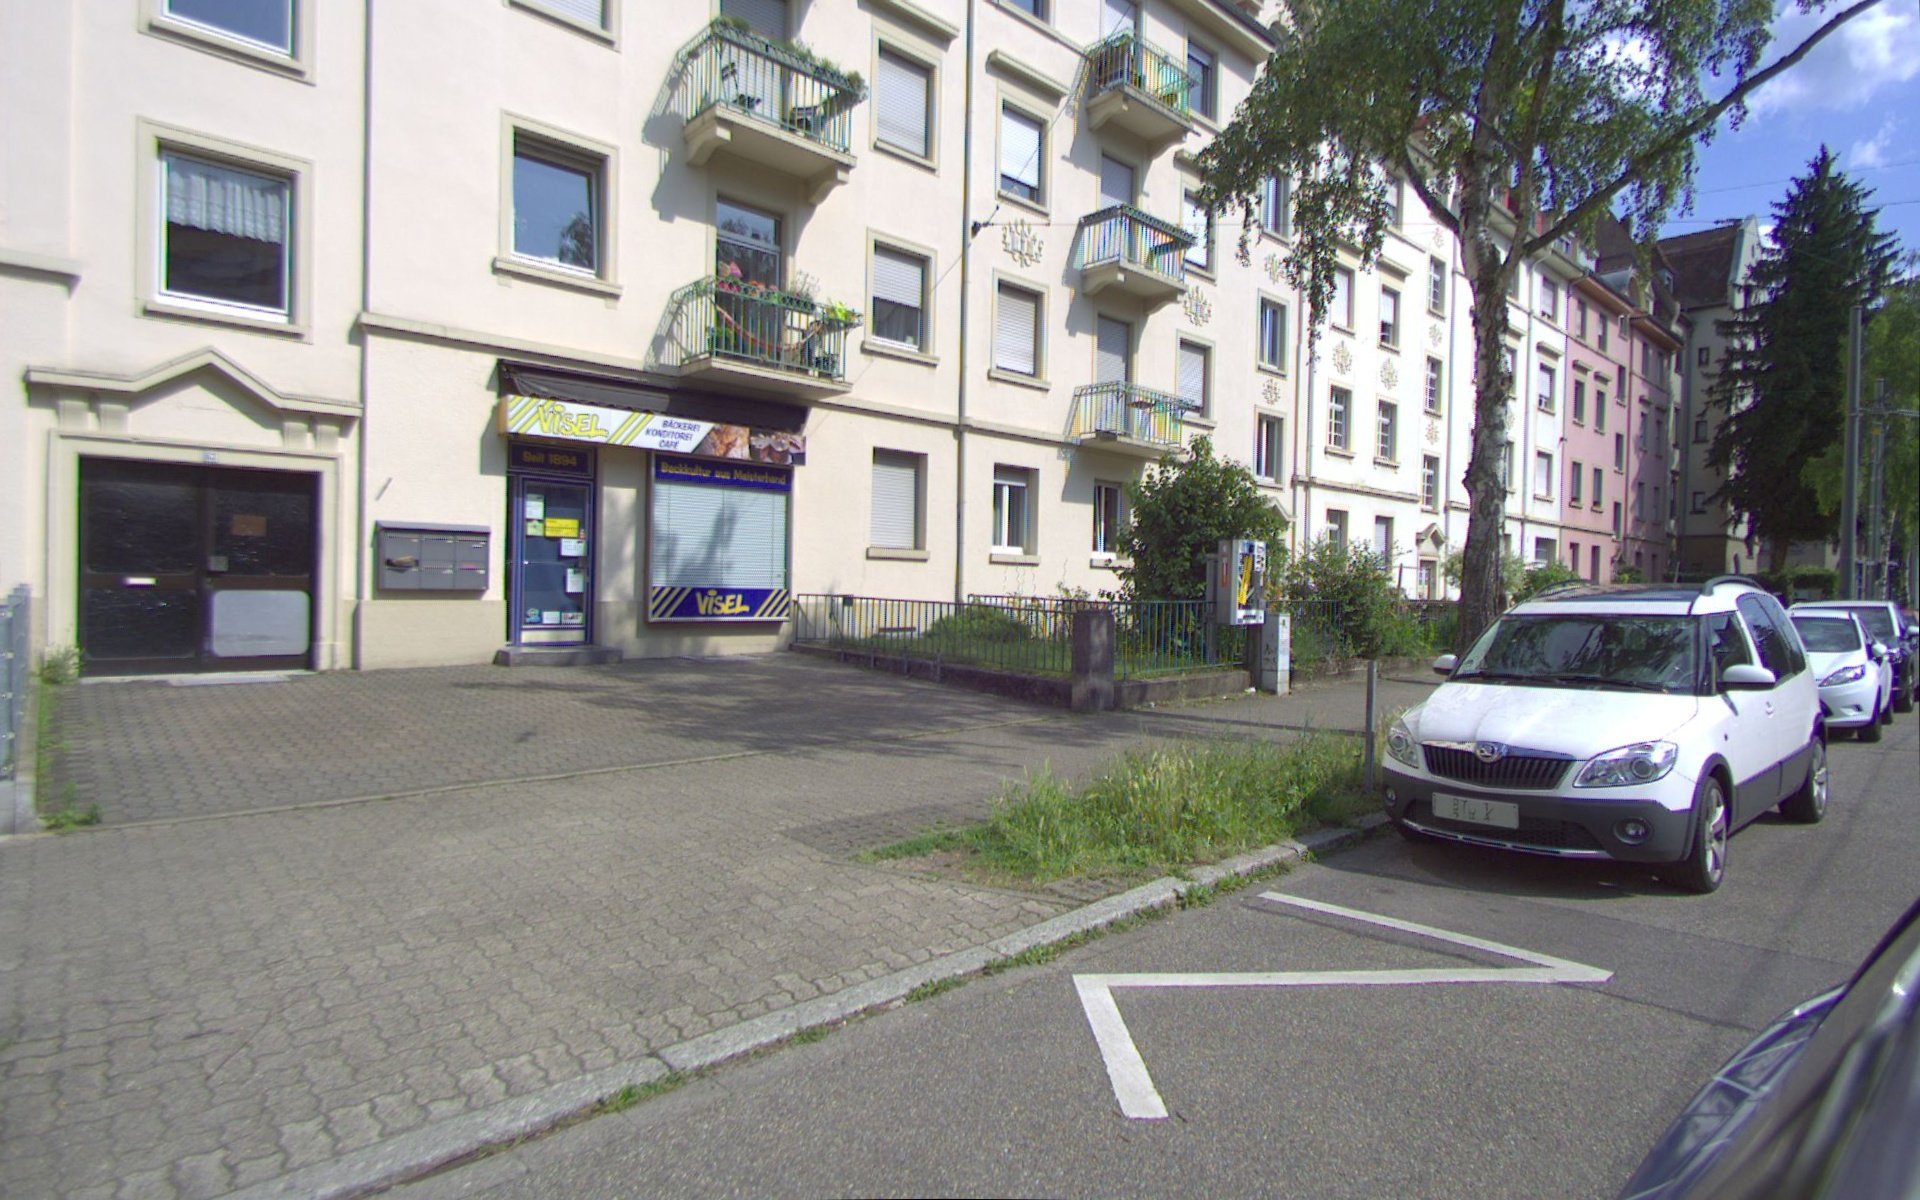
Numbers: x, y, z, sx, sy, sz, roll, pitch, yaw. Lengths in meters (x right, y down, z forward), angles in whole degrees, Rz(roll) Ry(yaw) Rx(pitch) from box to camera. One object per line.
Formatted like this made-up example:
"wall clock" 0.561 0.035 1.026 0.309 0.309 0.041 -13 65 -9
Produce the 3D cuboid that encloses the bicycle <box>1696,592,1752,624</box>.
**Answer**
"bicycle" 31.417 0.307 41.637 0.414 1.235 1.775 1 1 -43

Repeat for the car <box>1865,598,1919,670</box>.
"car" 21.020 0.687 21.977 3.852 1.471 1.621 0 -2 -43

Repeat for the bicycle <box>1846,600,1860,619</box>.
"bicycle" 48.407 0.505 54.849 1.456 1.034 0.350 0 4 -43

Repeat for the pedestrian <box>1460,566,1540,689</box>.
"pedestrian" 7.856 0.377 14.727 0.678 1.703 0.732 1 3 -39

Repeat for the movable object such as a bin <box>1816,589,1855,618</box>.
"movable object such as a bin" 47.372 0.174 54.758 1.965 1.511 1.304 0 2 -42

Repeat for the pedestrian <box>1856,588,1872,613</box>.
"pedestrian" 67.216 0.048 75.276 0.731 1.866 0.797 1 1 33

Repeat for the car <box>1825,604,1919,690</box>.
"car" 17.611 0.826 19.000 3.779 1.471 1.590 0 -2 -43

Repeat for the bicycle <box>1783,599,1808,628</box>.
"bicycle" 31.737 0.494 38.428 1.747 1.066 0.420 0 1 -42

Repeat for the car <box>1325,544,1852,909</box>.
"car" 4.197 0.577 6.516 3.929 1.650 1.724 0 -1 -40

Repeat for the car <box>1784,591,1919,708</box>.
"car" 13.939 0.684 15.575 3.696 1.599 1.494 0 -1 -44

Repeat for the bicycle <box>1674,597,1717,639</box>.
"bicycle" 20.160 0.476 27.725 2.144 1.090 0.472 0 1 -41

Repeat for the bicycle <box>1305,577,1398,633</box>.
"bicycle" 9.340 0.095 24.203 0.661 1.267 1.975 1 1 -43

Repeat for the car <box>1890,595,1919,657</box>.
"car" 25.795 0.651 26.494 4.450 1.540 1.793 0 -1 -43

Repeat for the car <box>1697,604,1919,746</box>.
"car" 10.381 0.789 12.297 3.732 1.435 1.673 0 -1 -44
